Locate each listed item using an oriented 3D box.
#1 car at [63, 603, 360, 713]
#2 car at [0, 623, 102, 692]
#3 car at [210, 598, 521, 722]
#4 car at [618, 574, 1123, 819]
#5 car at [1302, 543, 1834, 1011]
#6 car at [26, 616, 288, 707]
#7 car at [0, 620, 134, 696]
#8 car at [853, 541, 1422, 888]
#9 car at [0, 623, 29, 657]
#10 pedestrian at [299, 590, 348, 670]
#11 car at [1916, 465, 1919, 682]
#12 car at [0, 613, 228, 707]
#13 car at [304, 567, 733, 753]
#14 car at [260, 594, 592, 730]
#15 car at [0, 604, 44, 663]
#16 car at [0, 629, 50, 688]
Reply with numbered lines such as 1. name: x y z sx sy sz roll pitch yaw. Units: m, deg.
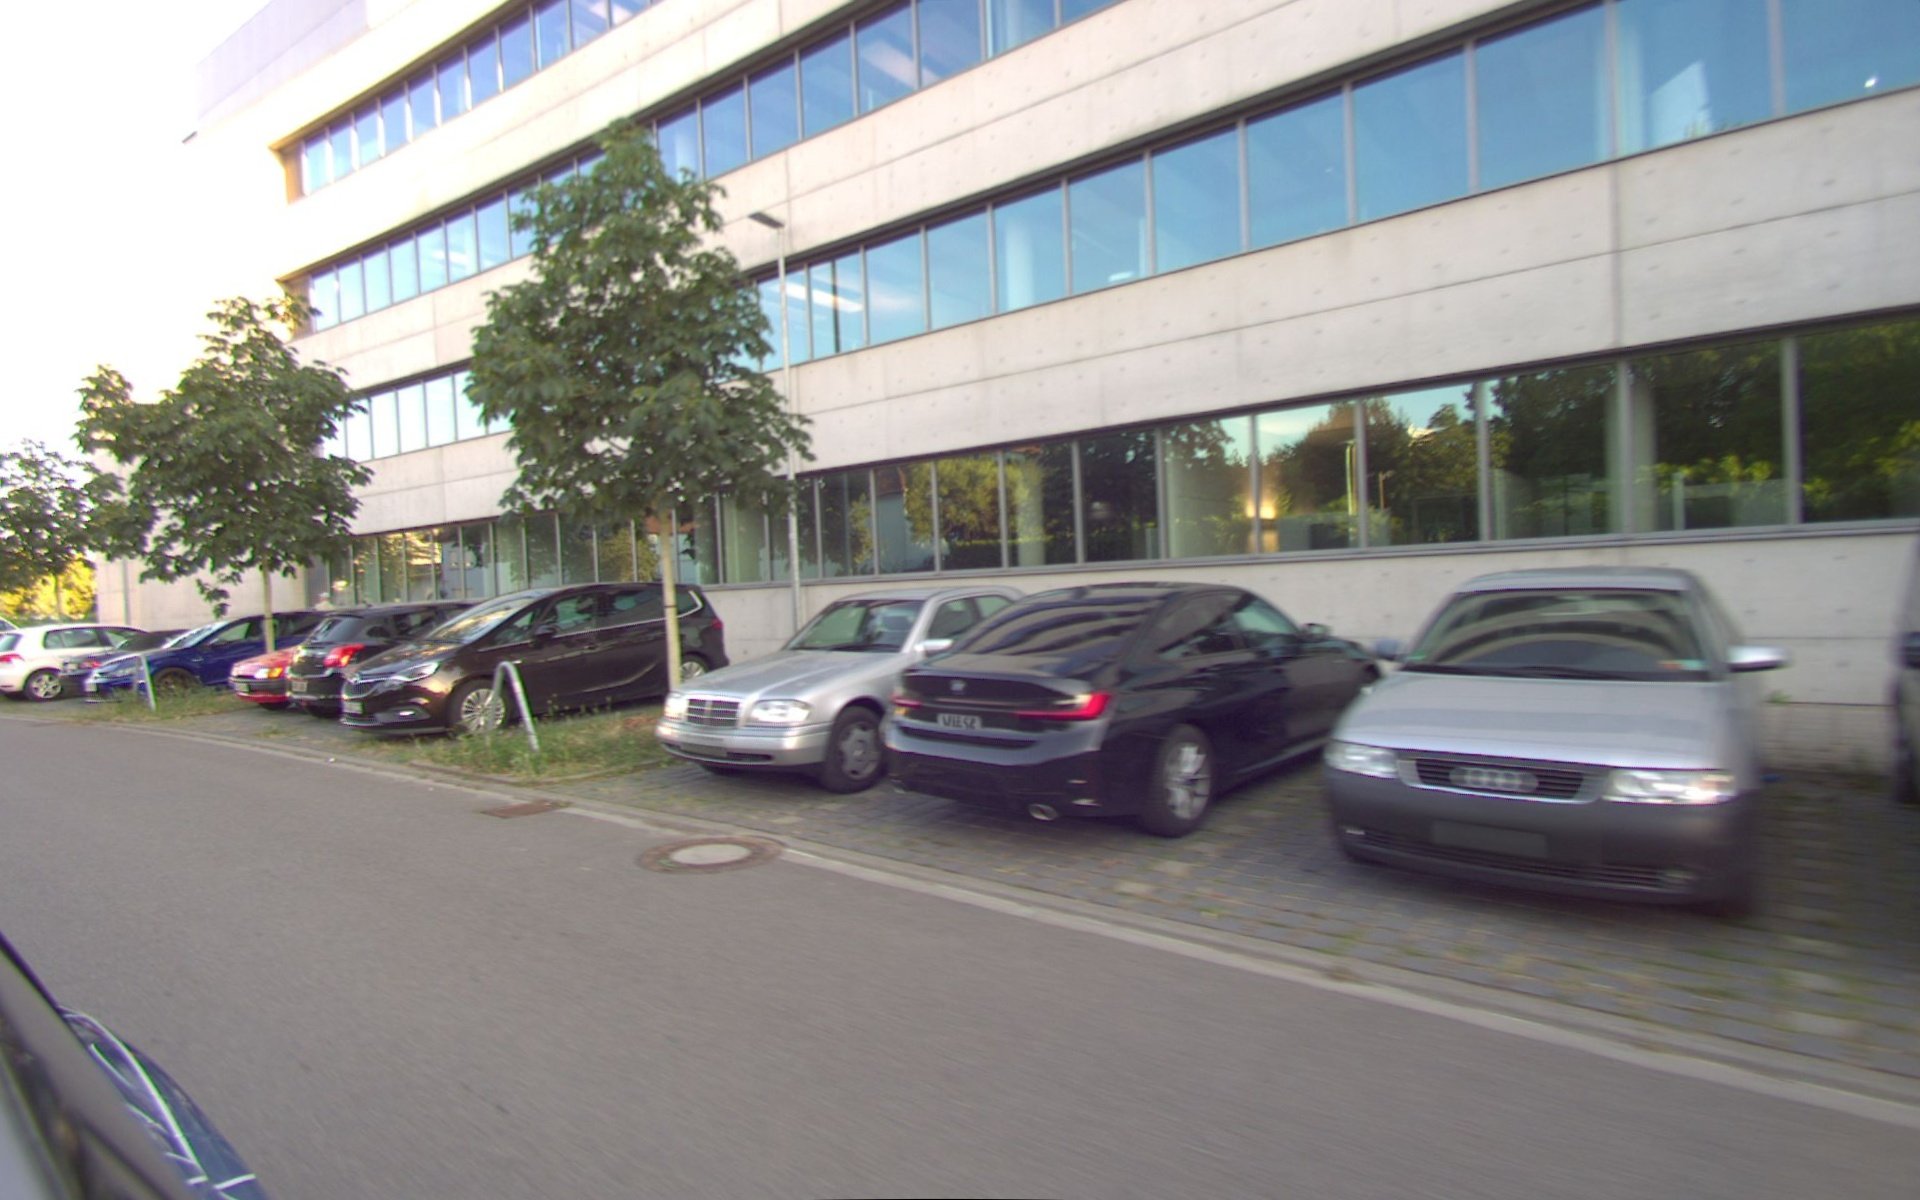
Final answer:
1. car: -13.190 0.962 18.050 1.755 1.522 3.840 -3 1 33
2. car: -24.253 1.518 25.129 1.837 1.540 4.063 -3 2 27
3. car: -8.870 0.811 15.378 1.707 1.468 3.672 -2 2 34
4. car: -0.484 0.609 8.773 1.761 1.475 4.391 -3 1 39
5. car: 3.466 0.510 5.454 1.723 1.414 4.104 -1 4 39
6. car: -15.626 1.150 19.882 1.678 1.372 3.610 -3 1 28
7. car: -21.998 1.407 23.532 1.577 1.523 3.976 -4 1 27
8. car: 1.516 0.465 7.009 1.763 1.510 4.351 -1 4 43
9. car: -44.432 1.932 45.487 1.507 1.458 3.419 -3 2 27
10. pedestrian: -14.940 0.698 23.751 0.723 1.797 0.641 -2 2 33
11. car: 5.179 0.209 3.974 1.723 1.755 4.206 -1 4 39
12. car: -17.976 1.202 21.115 1.755 1.522 3.956 -3 1 33
13. car: -5.052 0.551 12.104 1.894 1.709 4.268 -2 2 39
14. car: -7.230 0.752 14.017 1.675 1.468 3.670 -2 2 35
15. car: -46.943 1.730 46.859 2.212 2.692 6.207 -2 2 27
16. car: -26.511 1.671 26.375 1.761 1.493 3.713 -4 1 27
